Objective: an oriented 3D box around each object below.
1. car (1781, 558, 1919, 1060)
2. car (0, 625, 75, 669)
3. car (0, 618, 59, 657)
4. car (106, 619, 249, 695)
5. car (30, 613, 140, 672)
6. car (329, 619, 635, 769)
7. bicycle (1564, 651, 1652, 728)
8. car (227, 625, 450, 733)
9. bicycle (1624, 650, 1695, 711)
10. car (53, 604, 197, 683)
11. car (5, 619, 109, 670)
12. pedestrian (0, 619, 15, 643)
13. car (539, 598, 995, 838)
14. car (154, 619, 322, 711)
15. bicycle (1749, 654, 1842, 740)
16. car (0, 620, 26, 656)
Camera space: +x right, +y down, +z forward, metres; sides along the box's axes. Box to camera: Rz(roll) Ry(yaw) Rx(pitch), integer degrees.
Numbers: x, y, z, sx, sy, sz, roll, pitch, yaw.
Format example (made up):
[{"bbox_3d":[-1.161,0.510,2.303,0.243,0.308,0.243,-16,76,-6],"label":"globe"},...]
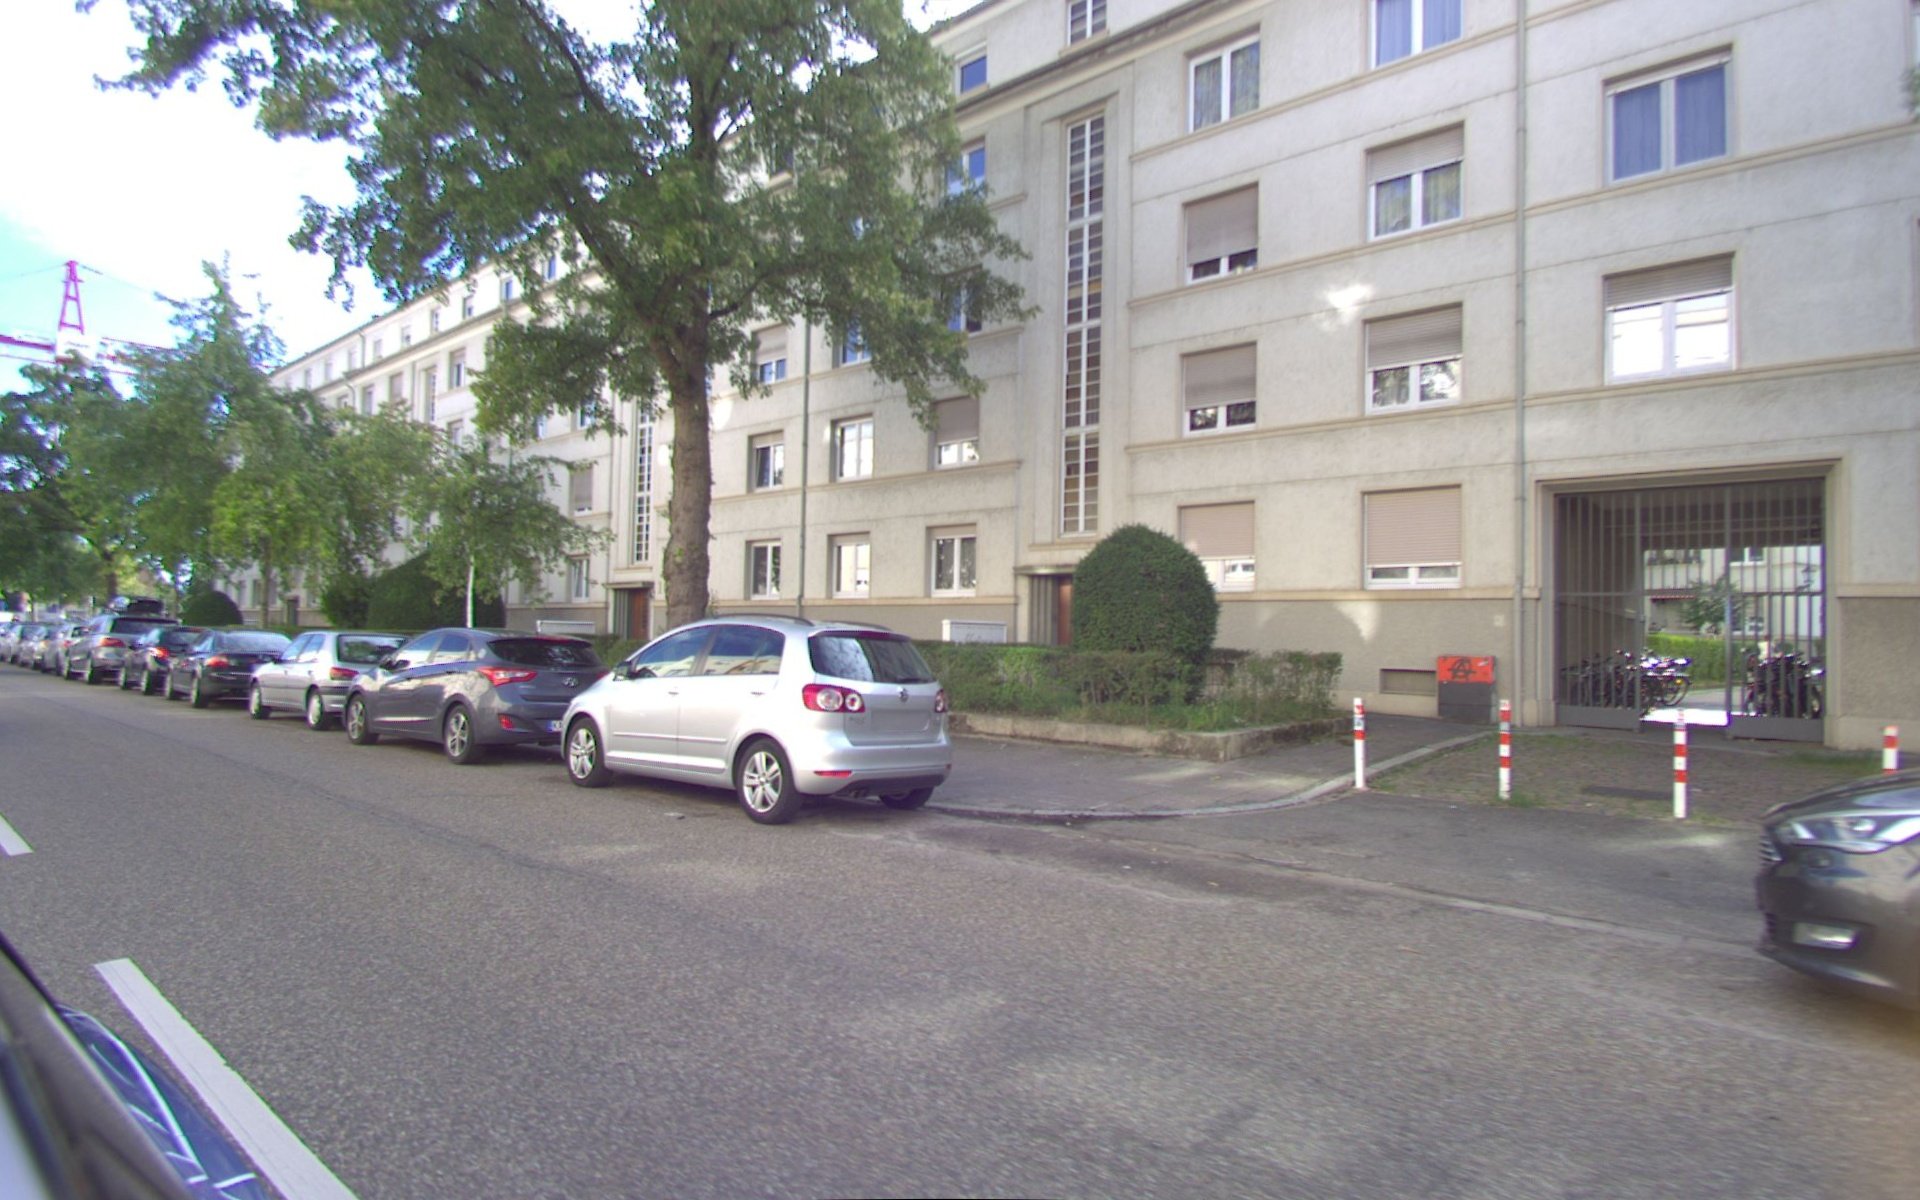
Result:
[{"bbox_3d":[5.228,0.731,2.814,4.481,1.681,1.780,-1,-6,42],"label":"car"},{"bbox_3d":[-33.585,1.674,36.528,4.662,1.404,1.720,-1,-6,40],"label":"car"},{"bbox_3d":[-38.668,1.526,41.480,4.679,1.497,1.836,-1,-4,40],"label":"car"},{"bbox_3d":[-17.358,1.230,22.385,4.118,1.492,1.667,-1,-6,42],"label":"car"},{"bbox_3d":[-25.778,1.254,29.764,4.458,1.585,1.835,-1,-5,42],"label":"car"},{"bbox_3d":[-5.712,1.026,11.899,4.009,1.479,1.598,-1,-6,39],"label":"car"},{"bbox_3d":[10.766,1.427,16.758,0.918,1.132,2.950,-1,-3,39],"label":"bicycle"},{"bbox_3d":[-9.482,1.154,15.337,3.960,1.429,1.584,-1,-6,40],"label":"car"},{"bbox_3d":[14.570,1.624,21.040,0.981,1.132,3.302,-1,-3,39],"label":"bicycle"},{"bbox_3d":[-21.308,1.099,25.746,4.966,1.807,1.858,-1,-5,40],"label":"car"},{"bbox_3d":[-29.591,1.437,33.115,4.942,1.497,1.836,-1,-6,41],"label":"car"},{"bbox_3d":[-69.291,2.245,73.608,0.775,1.781,0.734,-1,-2,40],"label":"pedestrian"},{"bbox_3d":[-1.811,0.904,8.866,3.991,1.632,1.721,-1,-5,40],"label":"car"},{"bbox_3d":[-13.581,1.172,18.927,4.453,1.492,1.666,-1,-7,44],"label":"car"},{"bbox_3d":[12.583,1.409,15.296,0.990,1.132,2.559,-1,-2,39],"label":"bicycle"},{"bbox_3d":[-44.173,1.672,46.043,4.796,1.497,1.836,-1,-7,41],"label":"car"}]
